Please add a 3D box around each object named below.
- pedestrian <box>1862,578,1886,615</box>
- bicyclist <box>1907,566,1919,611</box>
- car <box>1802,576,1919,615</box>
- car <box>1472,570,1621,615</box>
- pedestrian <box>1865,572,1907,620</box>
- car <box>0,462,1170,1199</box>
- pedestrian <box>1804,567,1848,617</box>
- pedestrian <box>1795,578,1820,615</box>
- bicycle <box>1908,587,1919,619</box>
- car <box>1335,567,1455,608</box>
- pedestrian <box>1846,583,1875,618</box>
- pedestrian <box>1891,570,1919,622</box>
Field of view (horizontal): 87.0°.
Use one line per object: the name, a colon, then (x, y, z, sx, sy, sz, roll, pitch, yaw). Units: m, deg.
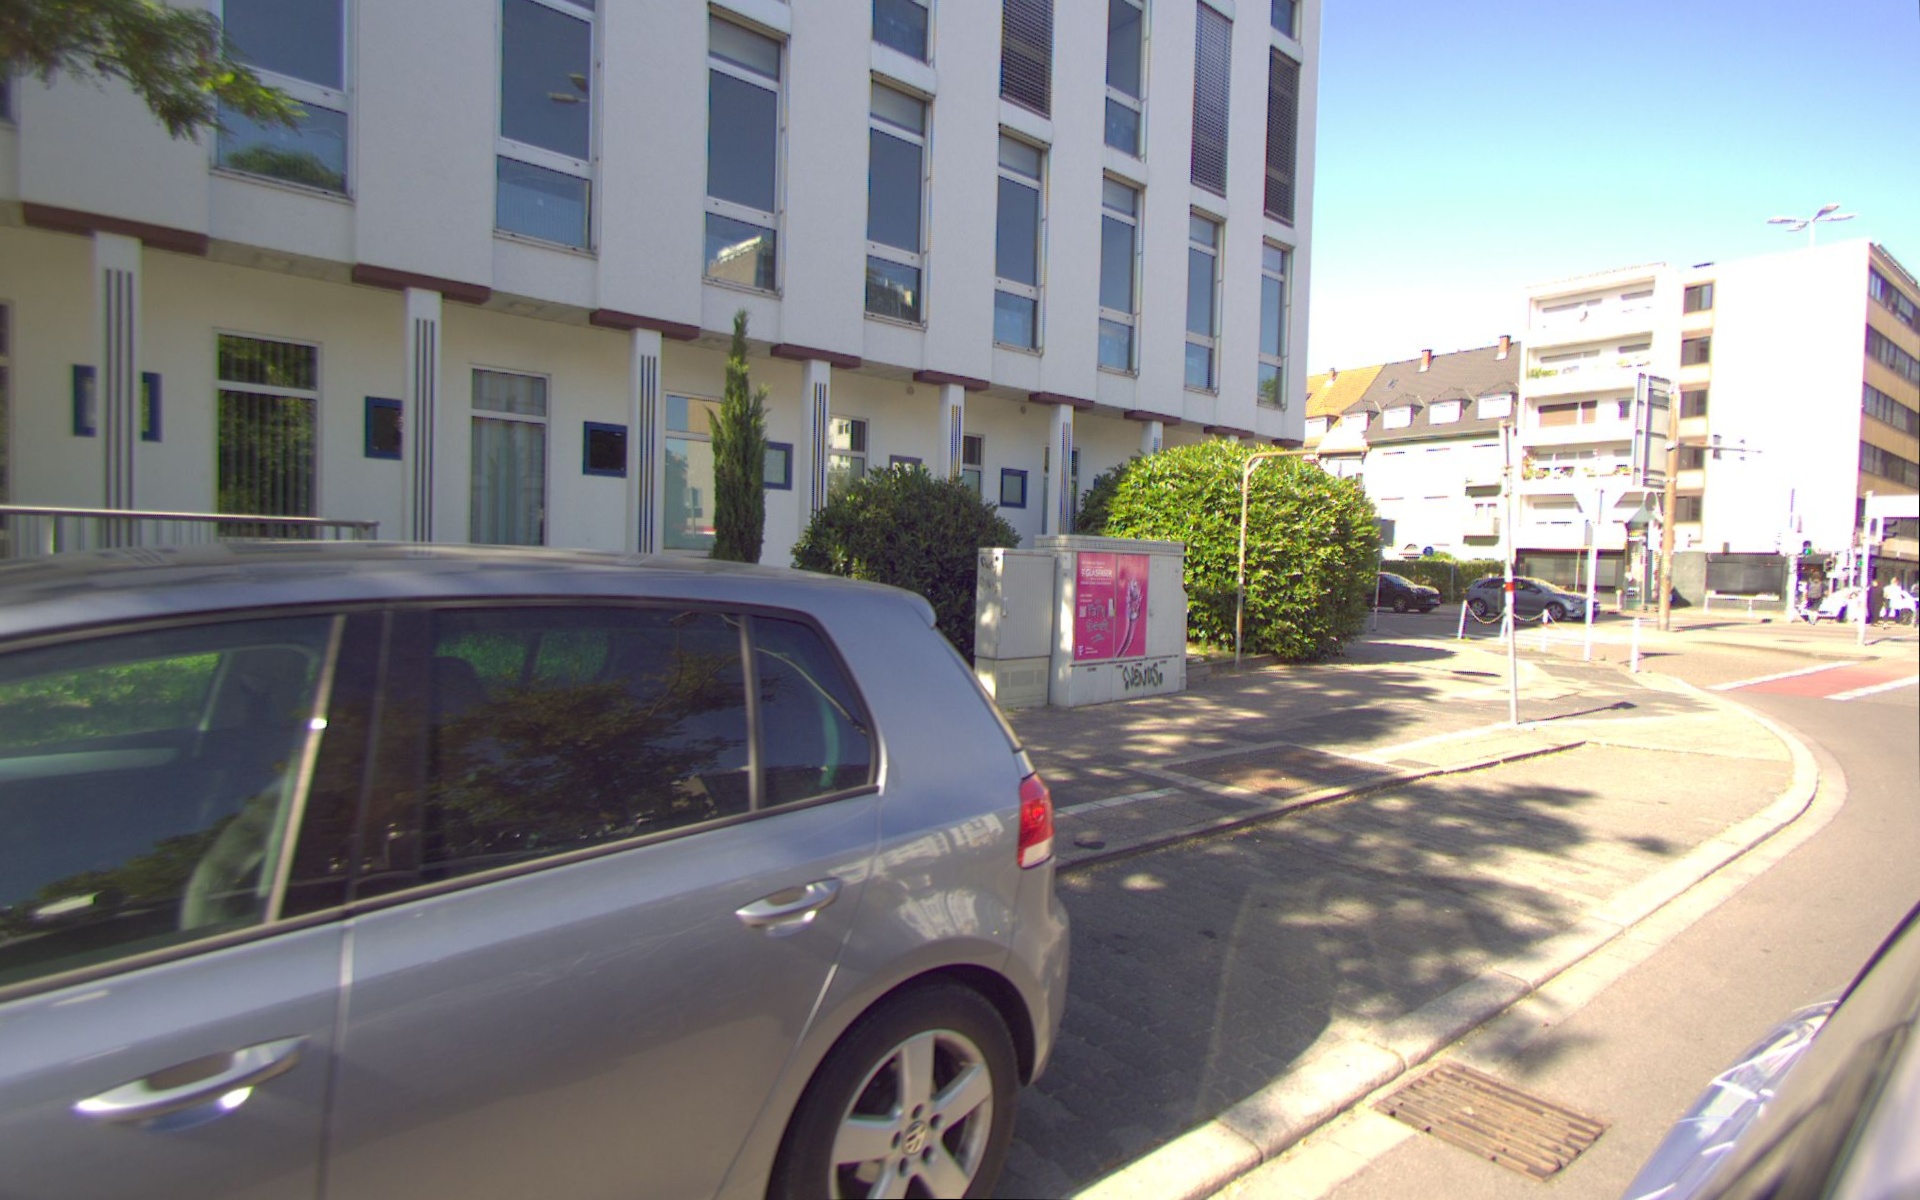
pedestrian: (42.741, -0.183, 47.326, 0.684, 1.699, 0.719, -3, 3, -38)
bicyclist: (33.530, -0.389, 35.161, 0.868, 1.553, 0.840, 2, 3, 43)
car: (40.344, -0.209, 44.848, 4.463, 1.538, 1.885, 2, 0, 0)
car: (20.155, -0.308, 34.937, 1.848, 1.425, 4.060, -1, 2, -33)
pedestrian: (32.587, -0.158, 35.627, 0.706, 1.642, 0.899, -3, 3, -29)
car: (-1.633, 0.540, 1.670, 4.081, 1.466, 1.642, 2, 2, -40)
pedestrian: (29.889, -0.287, 34.936, 0.786, 1.663, 0.980, -1, 3, 16)
pedestrian: (39.929, -0.163, 47.710, 0.712, 1.699, 0.691, 0, 3, 24)
bicycle: (33.622, 0.098, 35.254, 0.864, 1.002, 1.874, 1, 4, 44)
car: (16.964, -0.530, 39.609, 1.663, 1.510, 4.078, -1, 2, -33)
pedestrian: (32.624, 0.007, 36.657, 0.516, 1.217, 0.649, -3, 3, -29)
pedestrian: (30.777, -0.147, 32.619, 0.776, 1.627, 0.926, -1, 3, 16)
